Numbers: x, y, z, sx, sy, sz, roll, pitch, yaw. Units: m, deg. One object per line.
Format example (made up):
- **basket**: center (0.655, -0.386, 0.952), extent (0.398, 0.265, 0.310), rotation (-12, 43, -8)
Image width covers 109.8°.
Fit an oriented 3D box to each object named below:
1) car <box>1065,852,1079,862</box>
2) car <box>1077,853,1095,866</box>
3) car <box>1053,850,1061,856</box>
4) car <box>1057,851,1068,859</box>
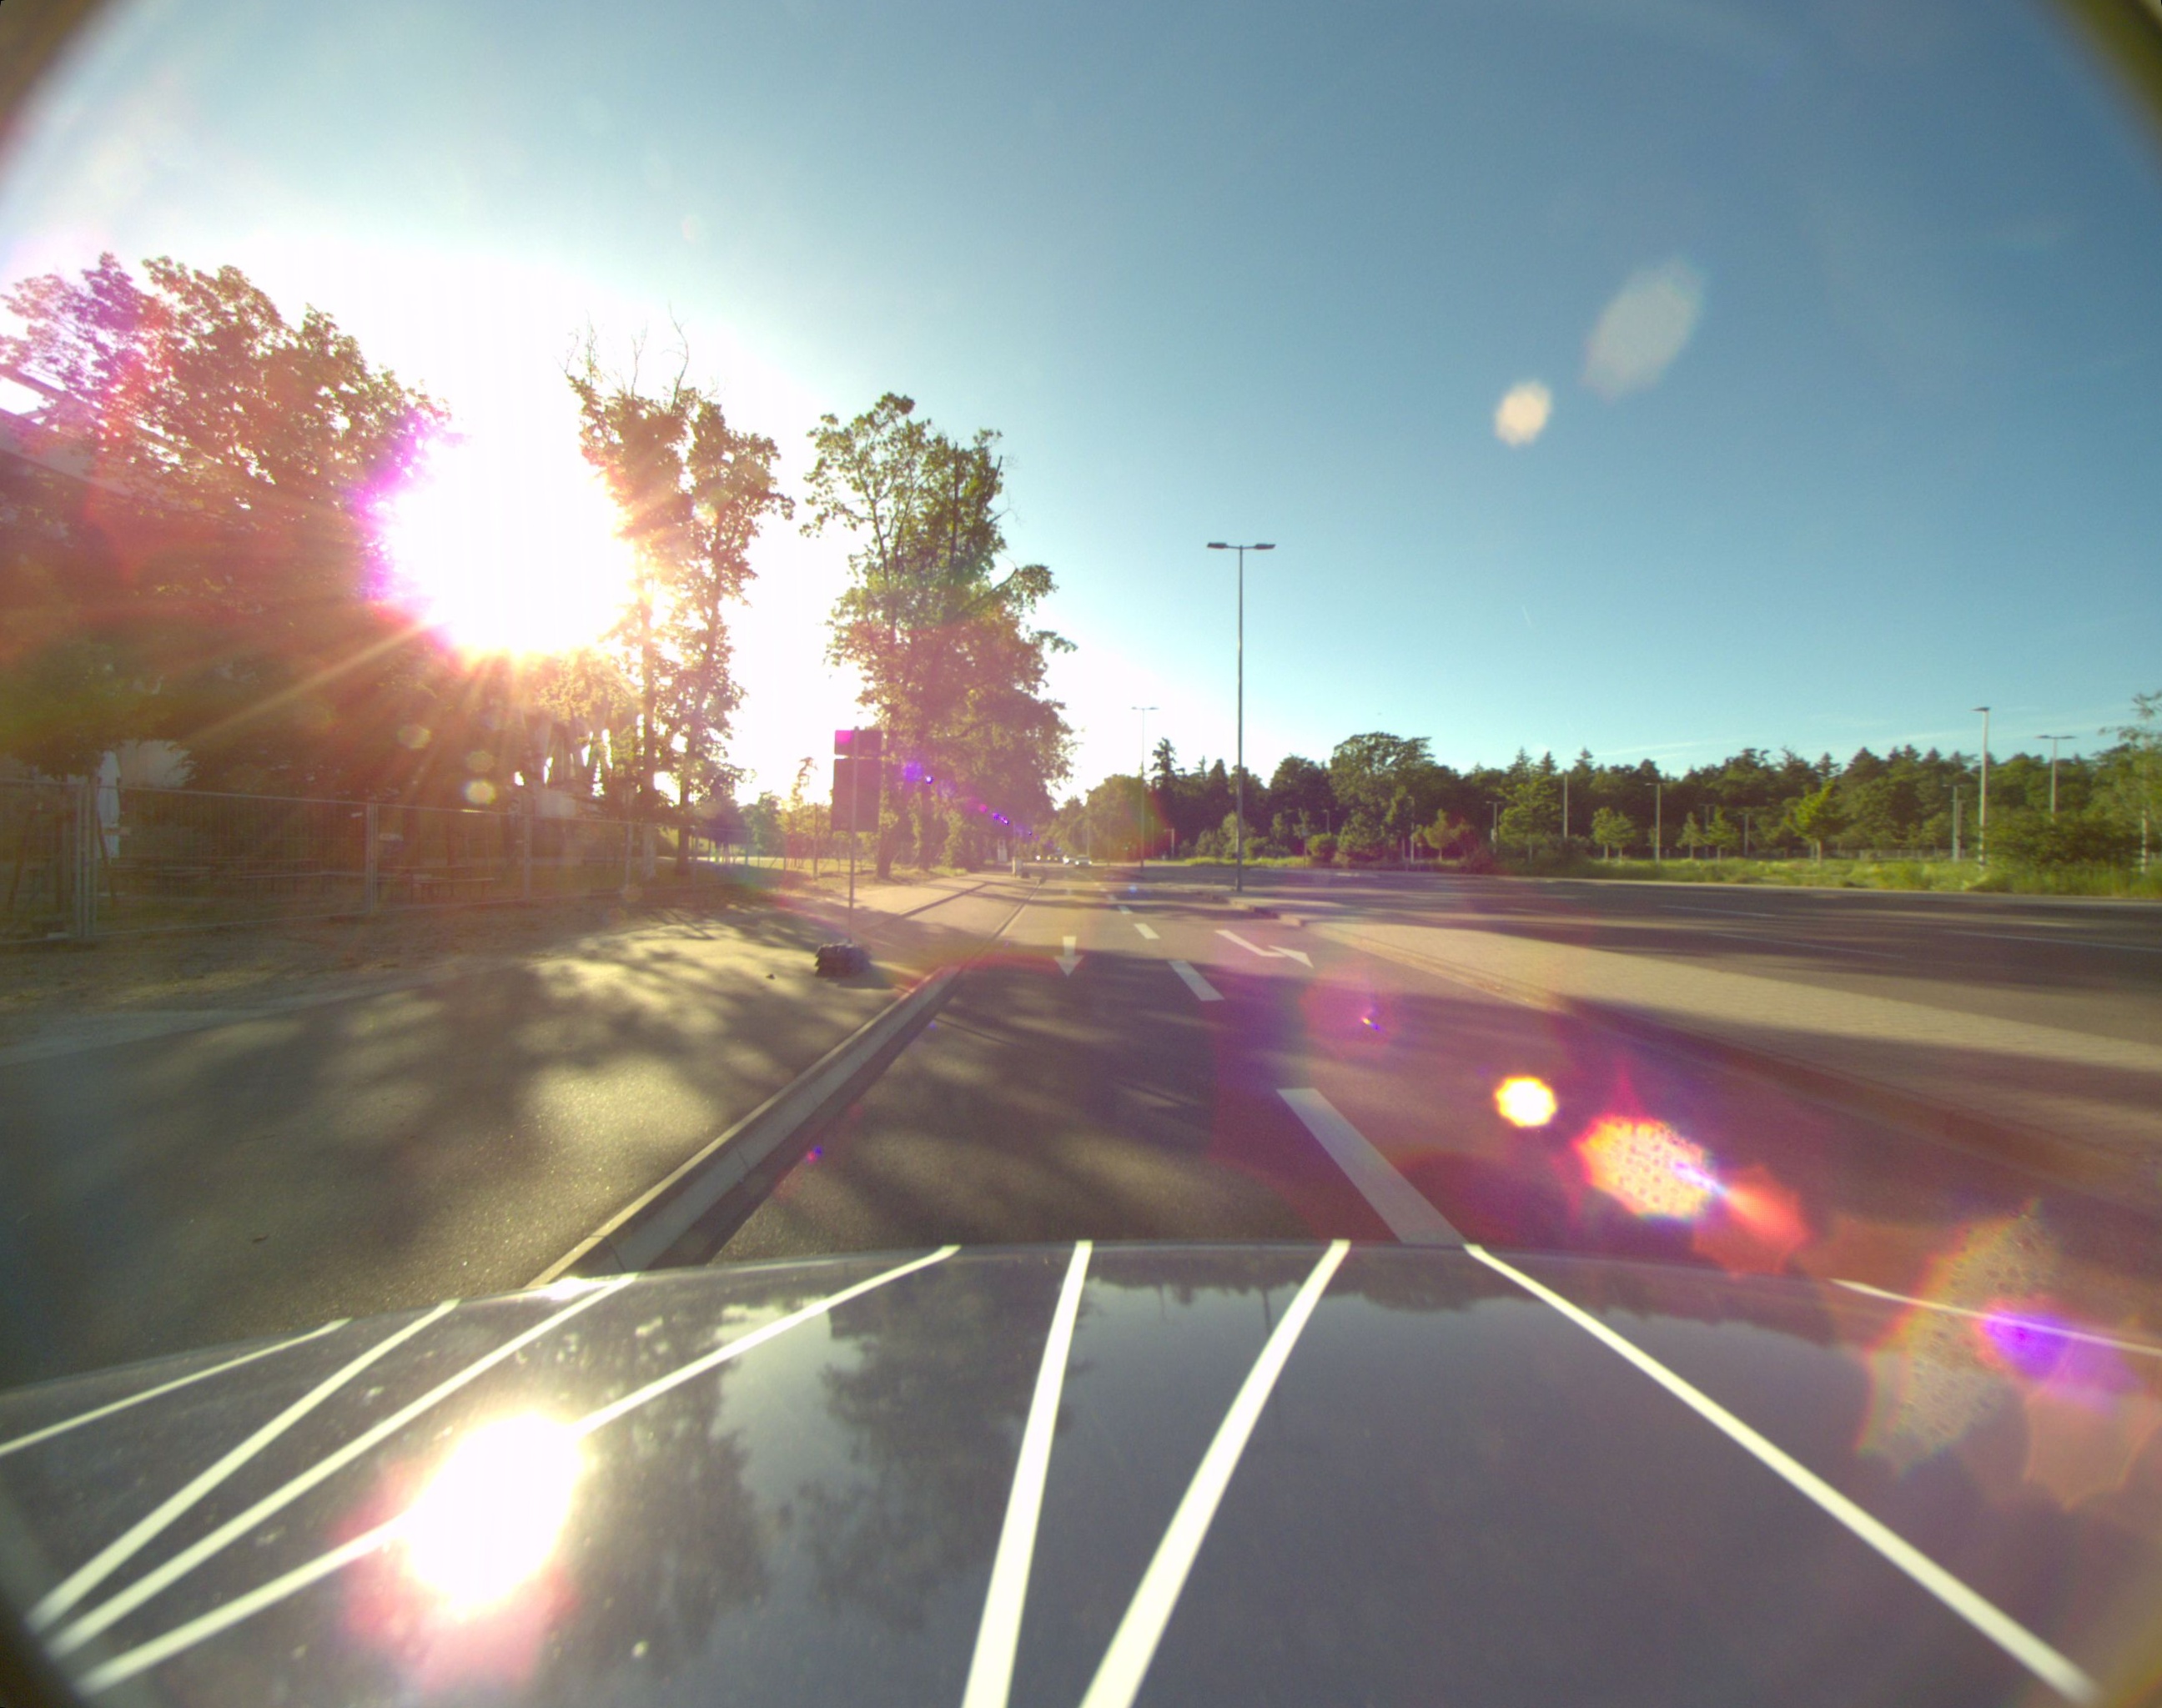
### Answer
- **car**: center (-1.357, 0.361, 111.548), extent (1.841, 1.395, 4.990), rotation (-1, 0, -3)
- **car**: center (0.499, 0.578, 85.952), extent (1.841, 1.395, 3.999), rotation (-1, 0, -2)
- **car**: center (-5.476, -0.228, 174.063), extent (1.841, 1.395, 4.990), rotation (-1, 0, -2)
- **car**: center (-3.461, 0.130, 140.327), extent (1.841, 1.395, 4.990), rotation (-1, 0, -3)
